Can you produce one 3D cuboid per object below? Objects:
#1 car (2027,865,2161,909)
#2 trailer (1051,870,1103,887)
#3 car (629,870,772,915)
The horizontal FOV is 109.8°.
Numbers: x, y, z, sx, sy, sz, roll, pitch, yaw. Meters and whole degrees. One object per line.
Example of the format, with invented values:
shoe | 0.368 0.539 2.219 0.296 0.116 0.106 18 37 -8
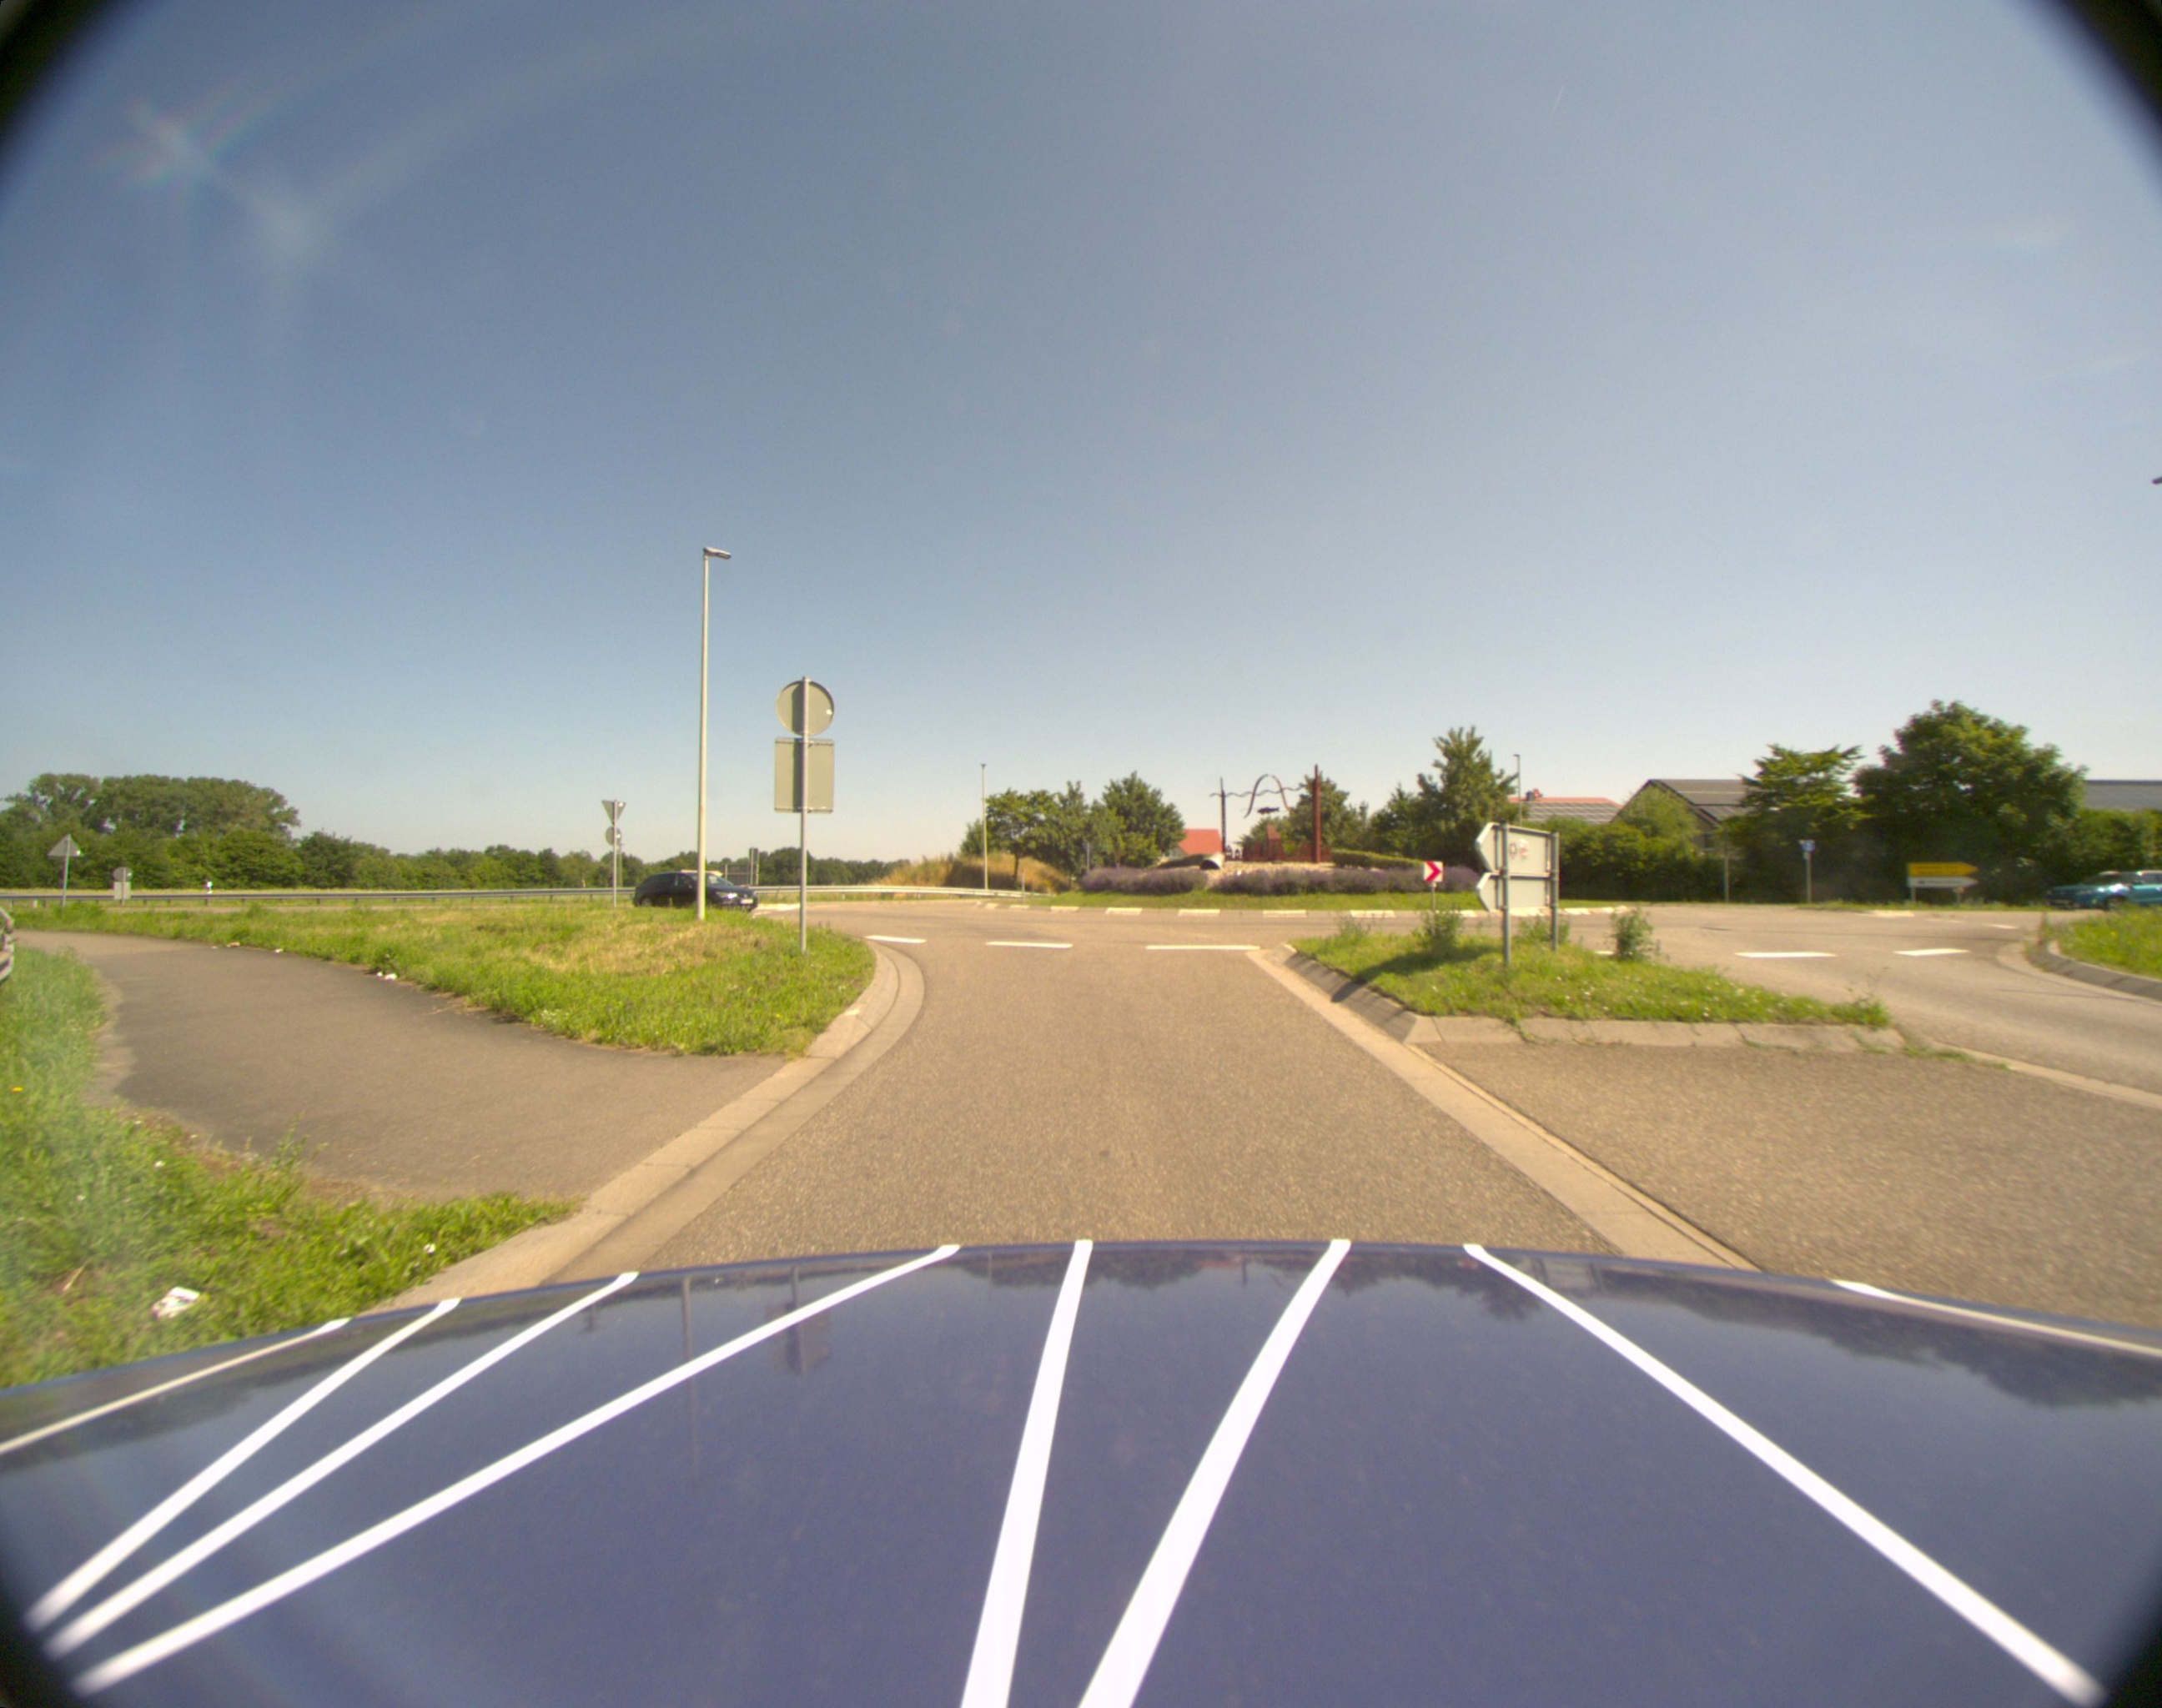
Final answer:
car | 38.376 1.211 28.246 3.995 1.567 1.650 0 -1 6
trailer | -0.695 3.294 103.253 2.003 2.264 10.468 0 -1 -31
car | -12.629 1.259 25.247 4.171 1.389 1.811 -1 -1 18
